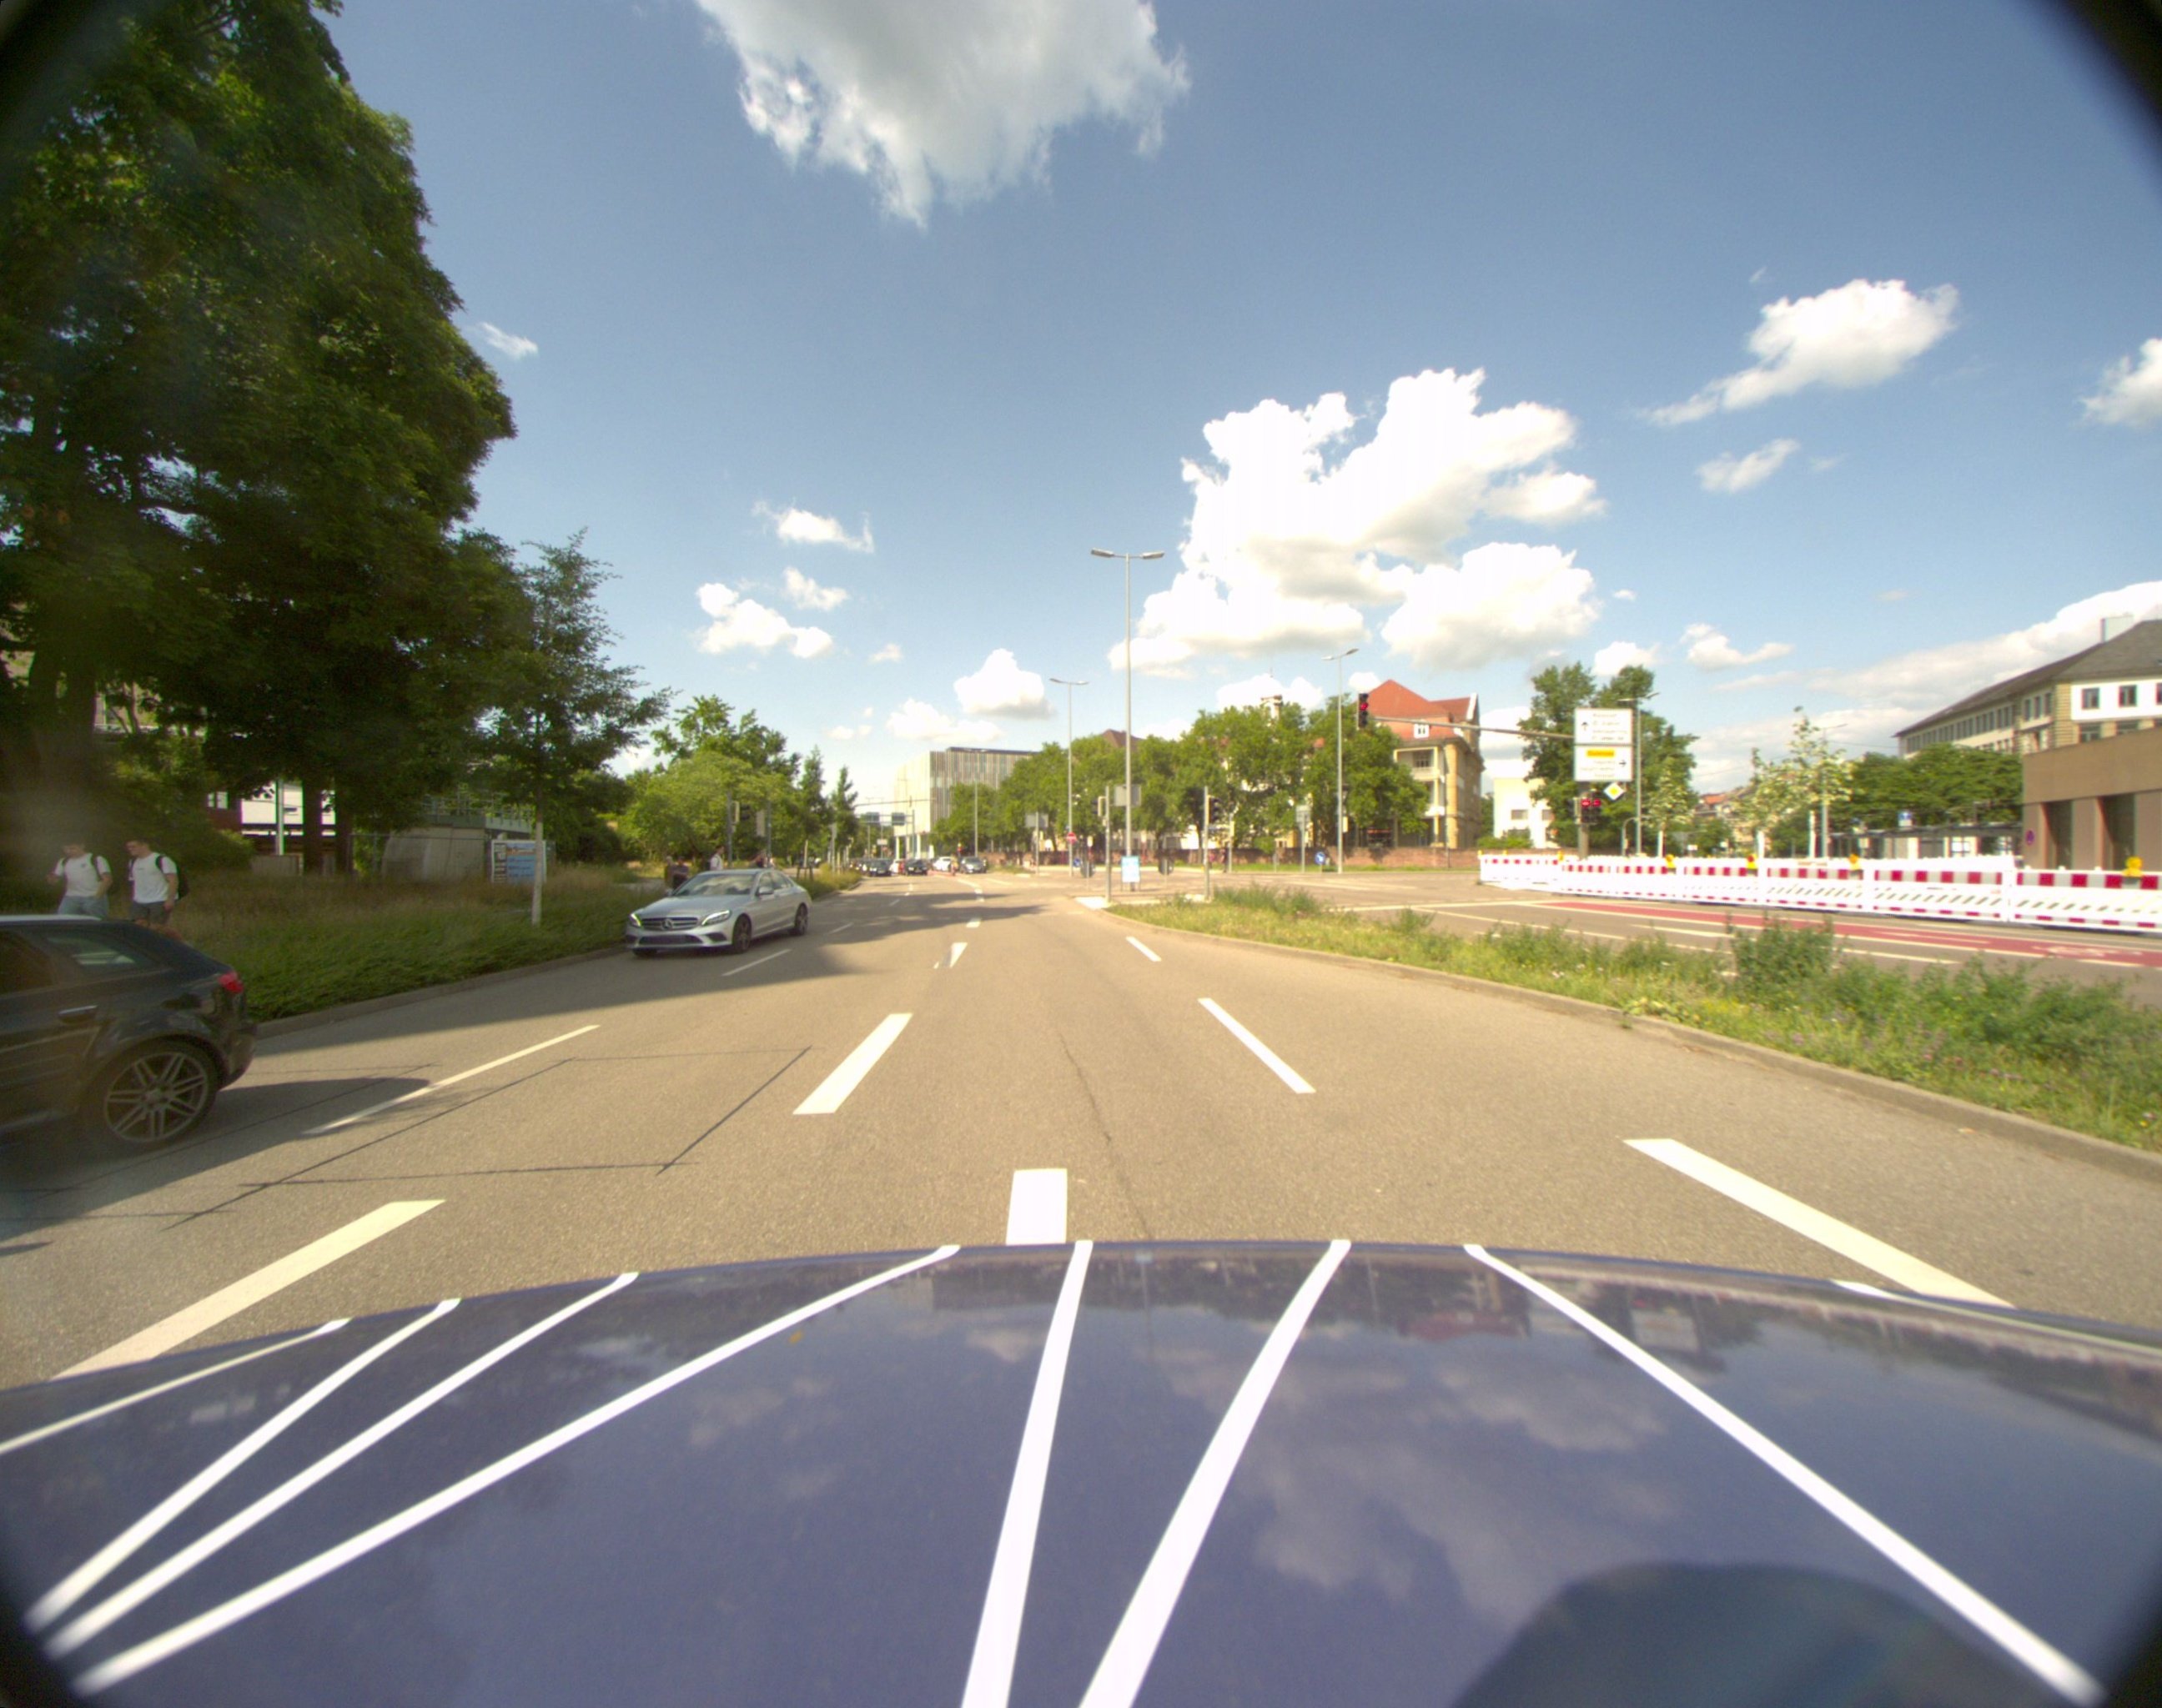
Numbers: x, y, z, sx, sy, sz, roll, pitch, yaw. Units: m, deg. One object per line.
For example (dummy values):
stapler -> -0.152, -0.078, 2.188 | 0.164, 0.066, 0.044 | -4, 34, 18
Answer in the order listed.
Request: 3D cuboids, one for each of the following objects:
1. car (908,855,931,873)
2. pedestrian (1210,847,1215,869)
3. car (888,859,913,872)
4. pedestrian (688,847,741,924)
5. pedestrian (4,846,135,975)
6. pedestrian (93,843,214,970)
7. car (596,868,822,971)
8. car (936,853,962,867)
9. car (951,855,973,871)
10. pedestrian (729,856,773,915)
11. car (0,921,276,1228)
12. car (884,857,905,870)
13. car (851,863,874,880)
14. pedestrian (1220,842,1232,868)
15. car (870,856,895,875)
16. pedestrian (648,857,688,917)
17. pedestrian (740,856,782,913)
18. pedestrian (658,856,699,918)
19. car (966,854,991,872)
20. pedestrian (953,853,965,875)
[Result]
car -> -13.699, 0.843, 64.274 | 1.827, 1.454, 3.995 | -1, 0, -14
pedestrian -> 10.299, 0.321, 59.491 | 0.369, 1.722, 0.451 | -2, 1, 13
car -> -16.334, 1.051, 68.764 | 1.600, 1.127, 3.622 | -1, 0, -23
pedestrian -> -9.907, 0.835, 20.574 | 0.965, 2.002, 0.768 | -2, 1, -2
pedestrian -> -13.865, 0.746, 10.447 | 0.616, 1.690, 0.889 | 2, 1, -5
pedestrian -> -12.959, 0.698, 10.650 | 0.616, 1.690, 0.889 | 2, 1, -5
car -> -6.696, 1.082, 14.410 | 1.935, 1.447, 4.758 | -2, 0, -1
car -> -13.697, 0.634, 78.691 | 1.781, 1.346, 3.992 | -2, 1, -23
car -> -11.260, 0.839, 71.962 | 1.734, 1.327, 3.784 | -2, 1, -13
pedestrian -> -10.050, 0.950, 23.160 | 0.928, 1.725, 0.768 | -2, 1, -2
car -> -6.050, 1.139, 2.854 | 1.703, 1.364, 4.131 | -1, 0, -2
car -> -18.402, 0.925, 75.109 | 1.911, 1.127, 4.096 | -1, 2, -13
car -> -19.742, 1.561, 68.796 | 1.827, 1.454, 3.995 | -1, 0, -13
pedestrian -> 11.048, 0.064, 57.949 | 0.582, 1.982, 0.621 | -3, 1, -27
car -> -16.264, 0.927, 62.371 | 1.827, 1.454, 3.995 | -1, 0, -13
pedestrian -> -12.257, 0.968, 22.582 | 0.768, 1.725, 0.718 | -2, 1, -8
pedestrian -> -10.081, 0.941, 23.937 | 0.928, 1.725, 0.768 | -2, 1, -2
pedestrian -> -11.590, 0.942, 21.919 | 0.768, 1.725, 0.718 | -2, 1, -8
car -> -8.829, 0.737, 65.304 | 2.000, 1.368, 4.265 | -2, 1, -10
pedestrian -> -9.656, 0.760, 60.147 | 0.739, 1.704, 0.874 | -3, 1, -22
